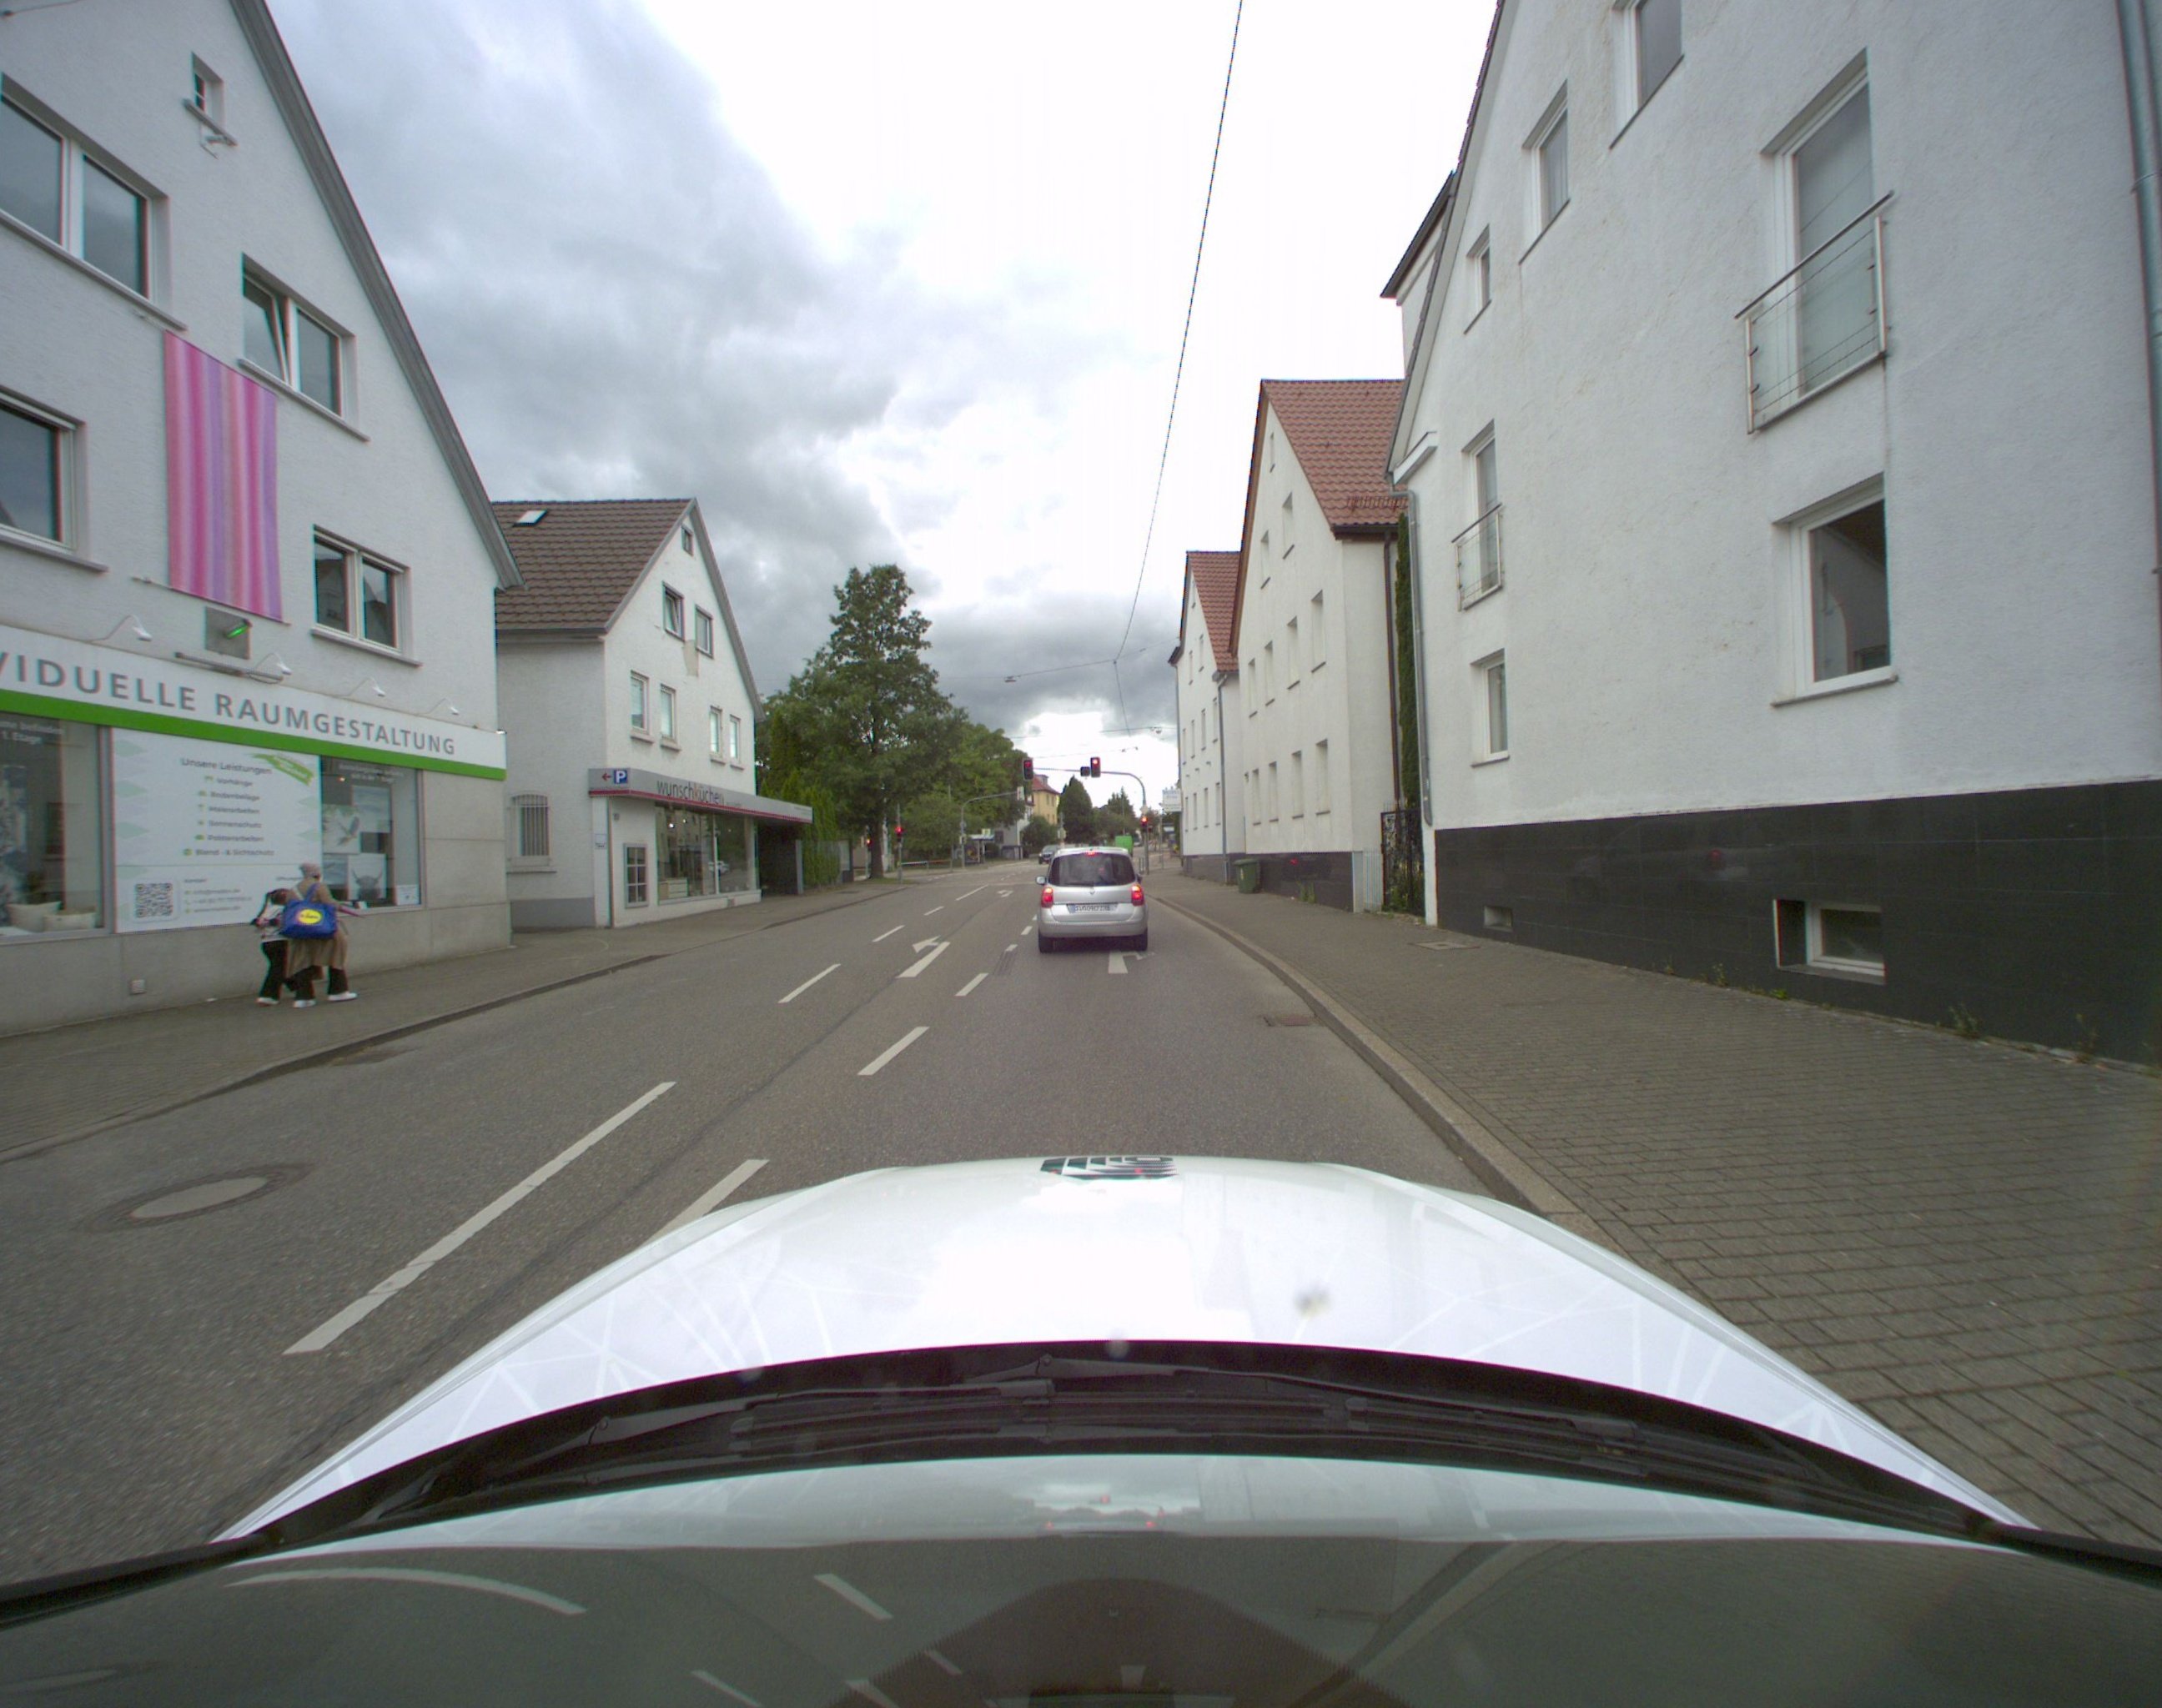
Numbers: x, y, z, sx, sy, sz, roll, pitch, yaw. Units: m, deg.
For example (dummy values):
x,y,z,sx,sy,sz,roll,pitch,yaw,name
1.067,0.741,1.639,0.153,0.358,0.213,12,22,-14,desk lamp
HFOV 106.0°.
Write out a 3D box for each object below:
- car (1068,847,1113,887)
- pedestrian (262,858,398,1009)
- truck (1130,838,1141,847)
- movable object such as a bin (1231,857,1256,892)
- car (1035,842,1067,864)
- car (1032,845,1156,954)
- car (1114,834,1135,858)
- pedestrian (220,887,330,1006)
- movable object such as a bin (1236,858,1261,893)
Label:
x,y,z,sx,sy,sz,roll,pitch,yaw,name
0.354,0.503,33.797,1.750,1.530,3.796,-1,0,-1,car
-8.479,0.867,9.231,0.749,1.617,0.792,1,0,-1,pedestrian
12.516,-2.663,186.829,2.089,2.013,5.763,-1,0,9,truck
4.600,0.588,23.072,0.538,0.941,0.487,-4,0,0,movable object such as a bin
-2.729,-0.091,74.327,1.914,1.773,4.012,-6,0,10,car
0.169,0.646,13.677,1.750,1.530,3.999,-1,0,-1,car
4.841,-0.829,89.818,2.050,2.512,5.602,-1,0,4,car
-9.226,1.037,9.347,0.598,1.279,0.655,0,0,-1,pedestrian
4.626,0.588,22.536,0.538,0.941,0.487,-4,0,0,movable object such as a bin
